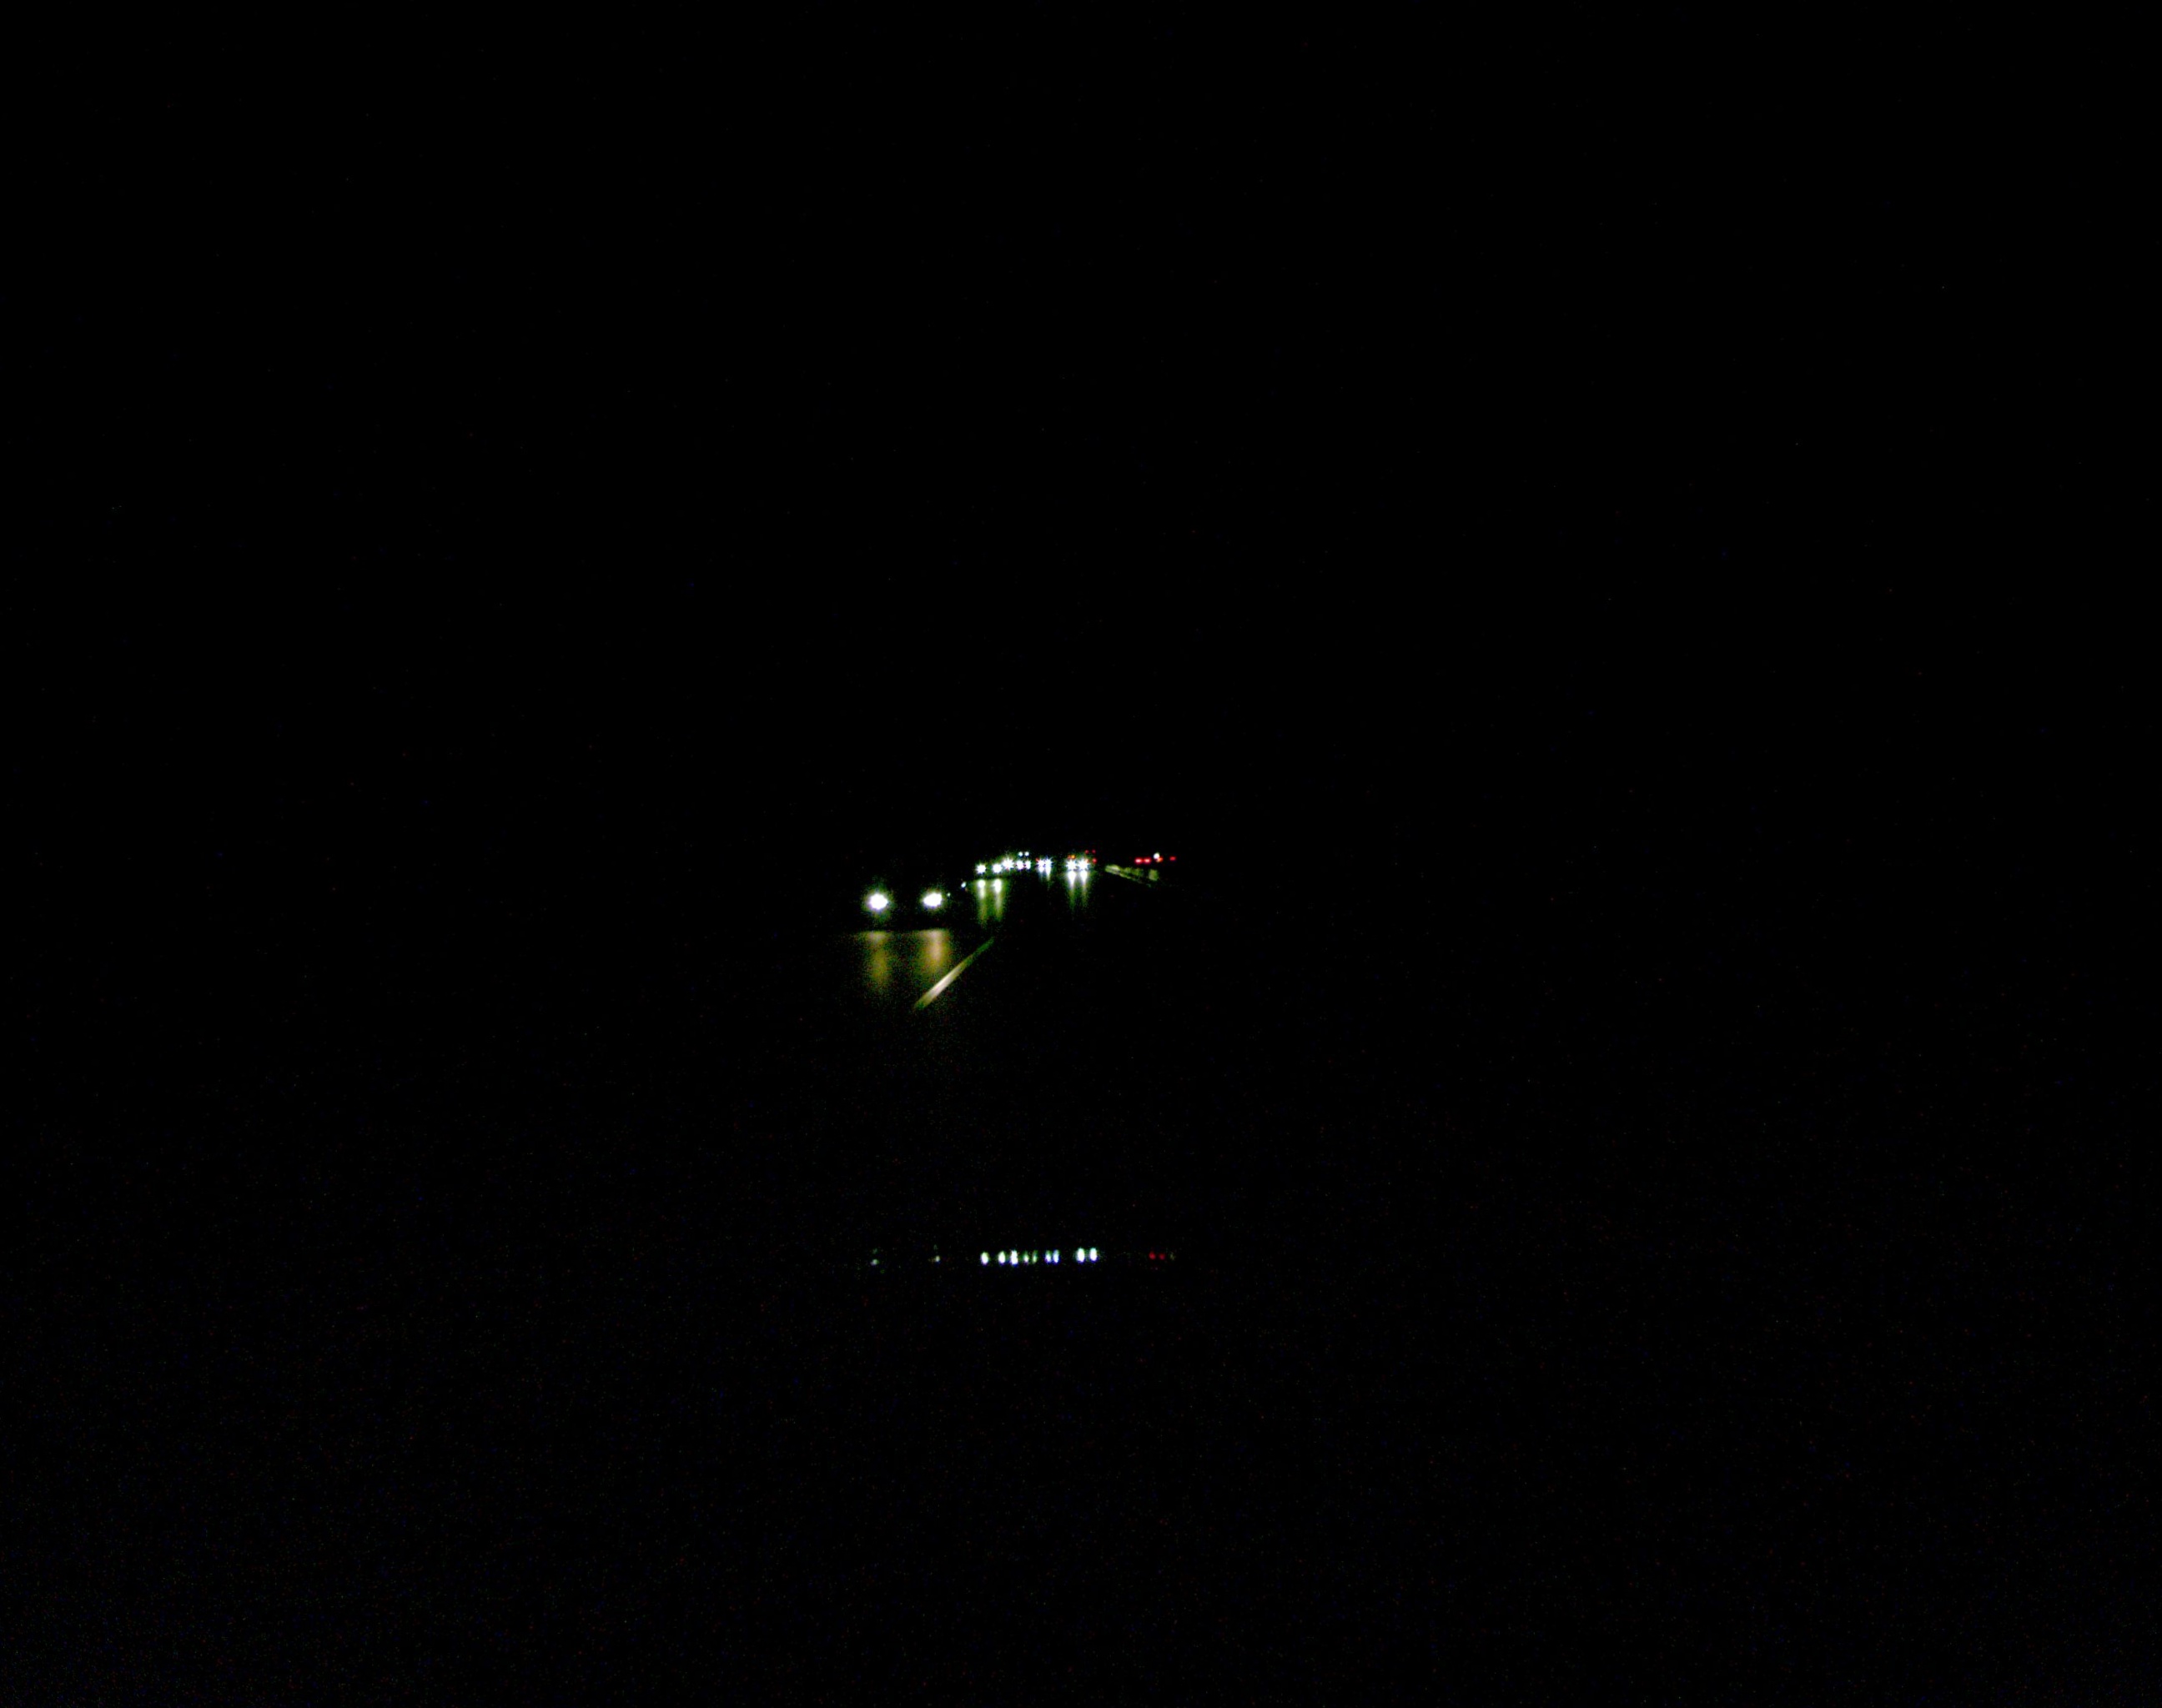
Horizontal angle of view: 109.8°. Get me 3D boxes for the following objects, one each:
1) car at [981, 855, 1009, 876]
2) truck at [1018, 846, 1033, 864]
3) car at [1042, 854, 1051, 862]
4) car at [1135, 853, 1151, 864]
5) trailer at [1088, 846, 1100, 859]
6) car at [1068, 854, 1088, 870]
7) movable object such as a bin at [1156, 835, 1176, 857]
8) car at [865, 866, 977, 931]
[{"bbox_3d":[-7.520,1.001,67.041,1.999,1.707,5.167,-2,0,-2],"label":"car"},{"bbox_3d":[-14.548,0.192,199.526,3.348,4.407,6.988,-3,0,-8],"label":"truck"},{"bbox_3d":[-7.526,0.831,164.547,1.940,1.608,3.999,-2,0,-3],"label":"car"},{"bbox_3d":[8.928,0.613,109.696,1.938,1.444,4.453,-2,0,-1],"label":"car"},{"bbox_3d":[4.340,-0.527,262.427,2.860,4.407,13.975,-3,0,-4],"label":"trailer"},{"bbox_3d":[-0.314,0.907,88.033,2.011,1.652,4.001,-2,0,3],"label":"car"},{"bbox_3d":[13.950,-1.235,124.674,2.213,3.397,7.436,-2,0,-1],"label":"movable object such as a bin"},{"bbox_3d":[-4.089,1.077,20.316,1.839,1.393,5.069,-2,0,0],"label":"car"}]
